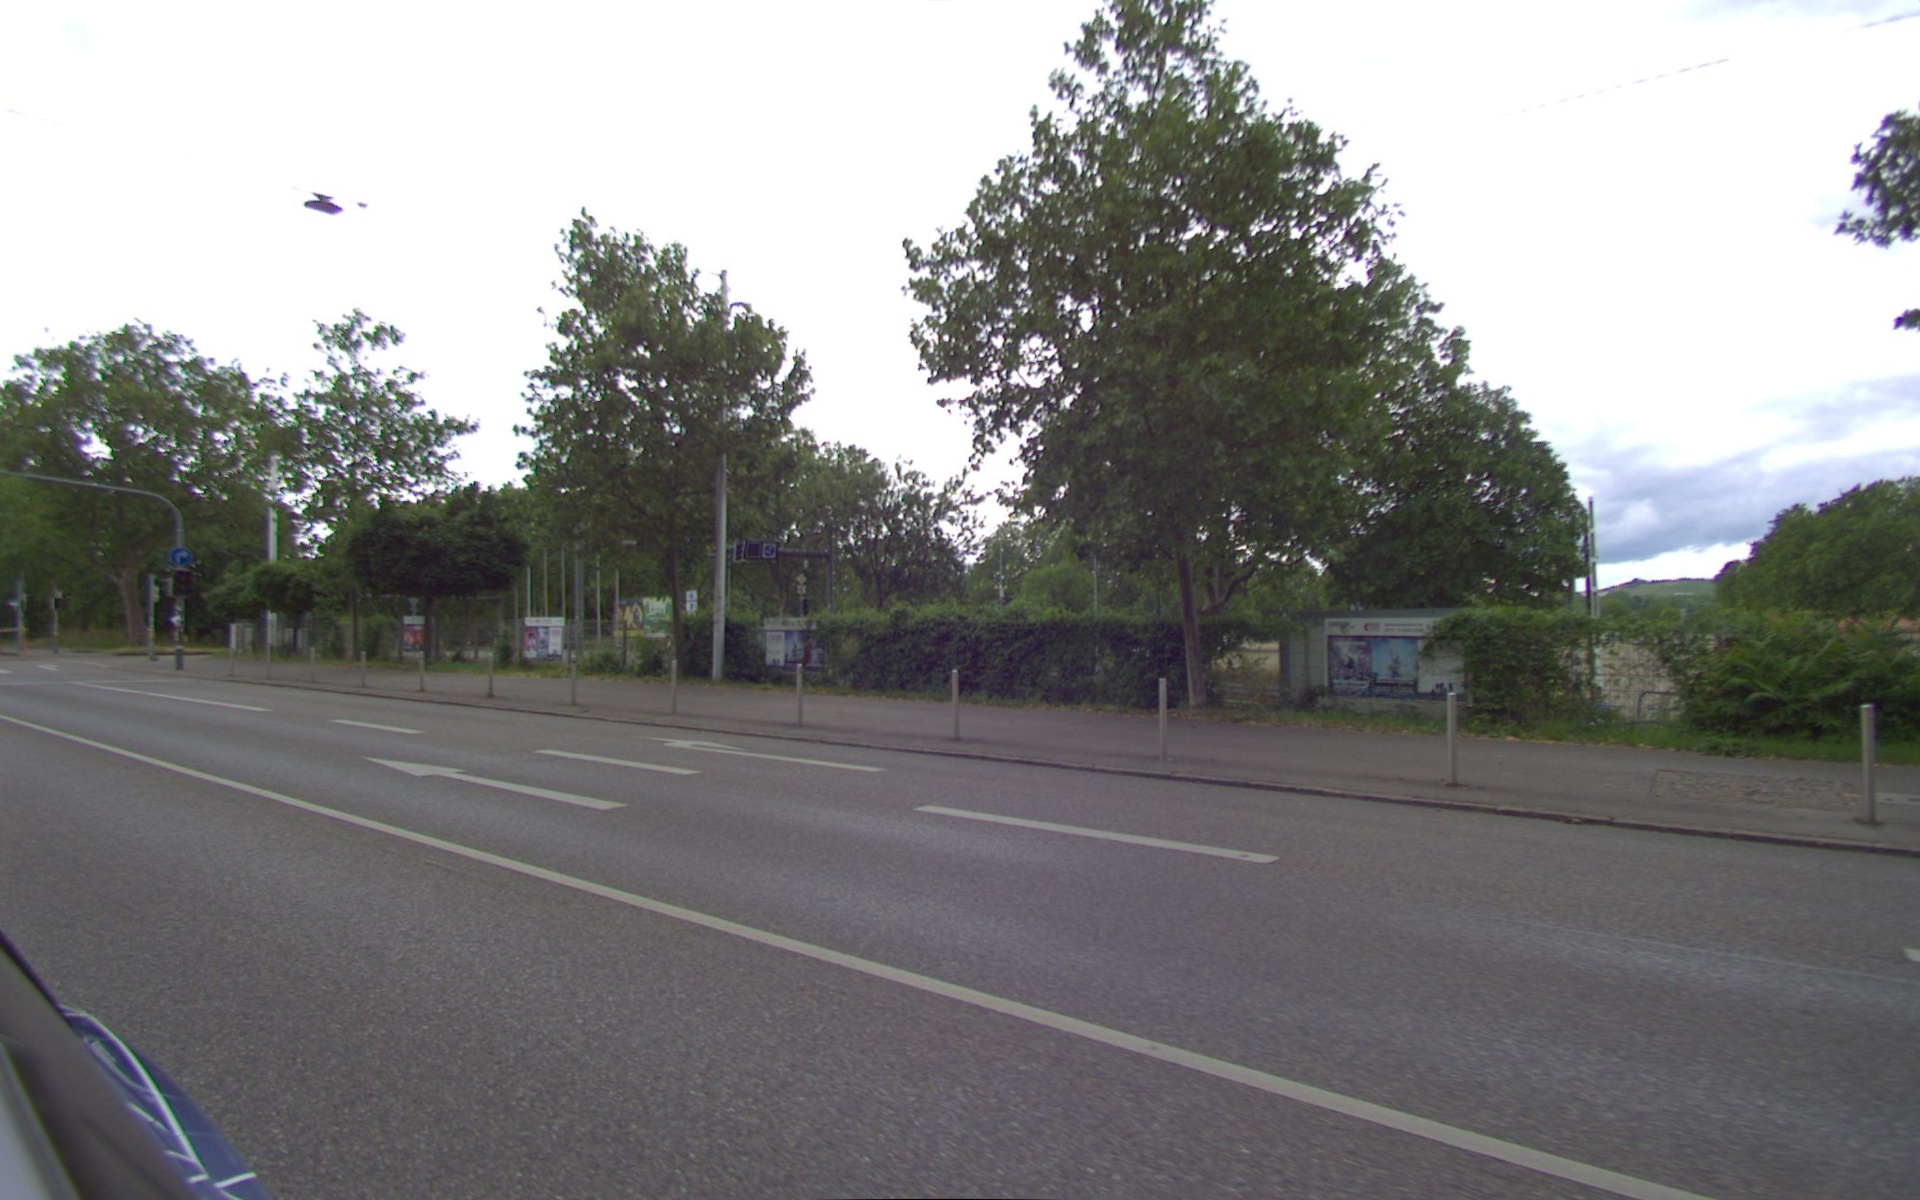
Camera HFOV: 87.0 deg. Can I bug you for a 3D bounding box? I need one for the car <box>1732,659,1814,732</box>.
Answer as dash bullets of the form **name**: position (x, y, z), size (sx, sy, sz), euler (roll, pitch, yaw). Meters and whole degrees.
- **car**: position (25.582, 2.937, 31.799), size (1.776, 1.874, 3.945), euler (-2, 0, 42)
